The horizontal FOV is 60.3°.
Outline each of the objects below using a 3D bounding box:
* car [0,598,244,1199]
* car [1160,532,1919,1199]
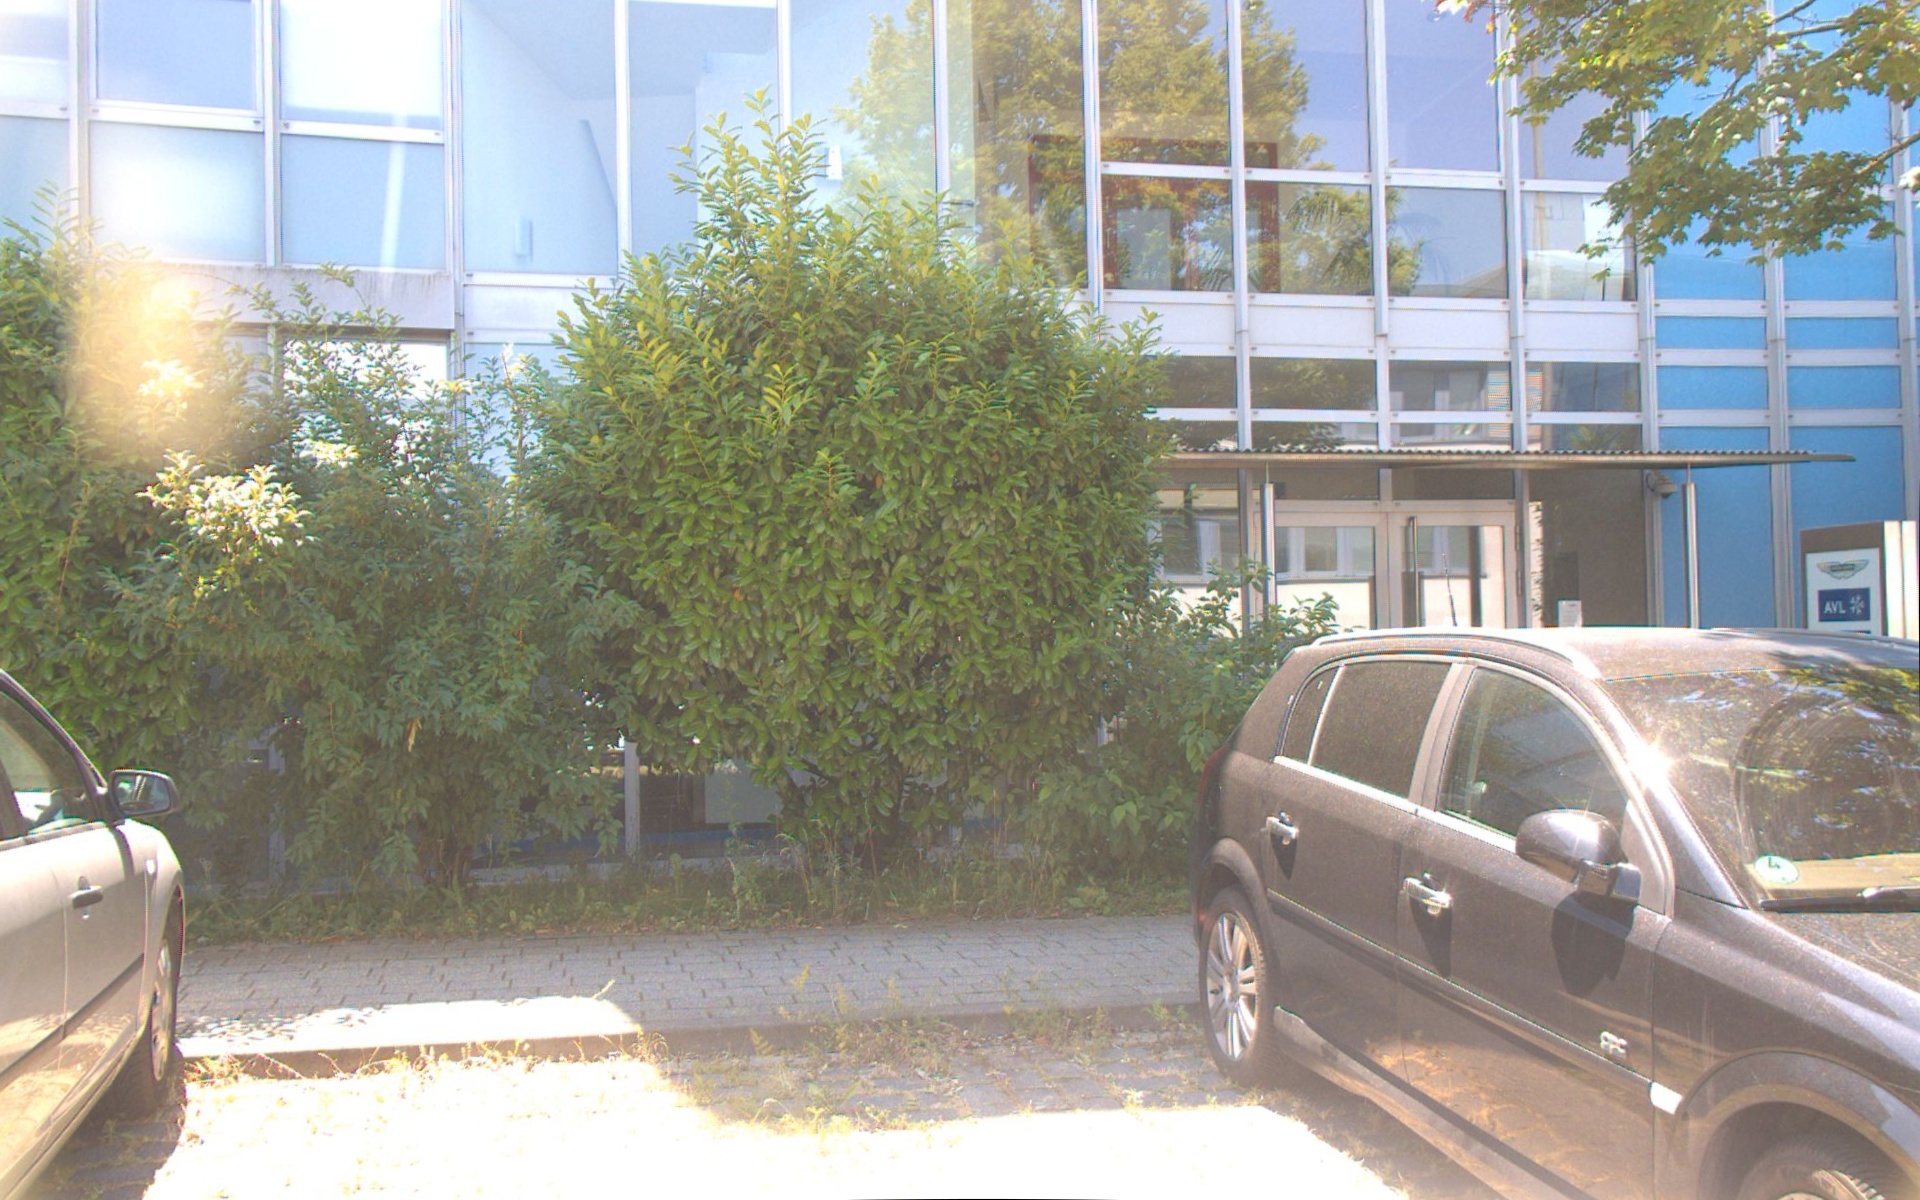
[{"bbox_3d":[-2.770,0.755,3.459,1.691,1.505,4.330,0,-1,-15],"label":"car"},{"bbox_3d":[2.001,0.721,4.107,1.726,1.576,4.553,0,-1,-10],"label":"car"}]
